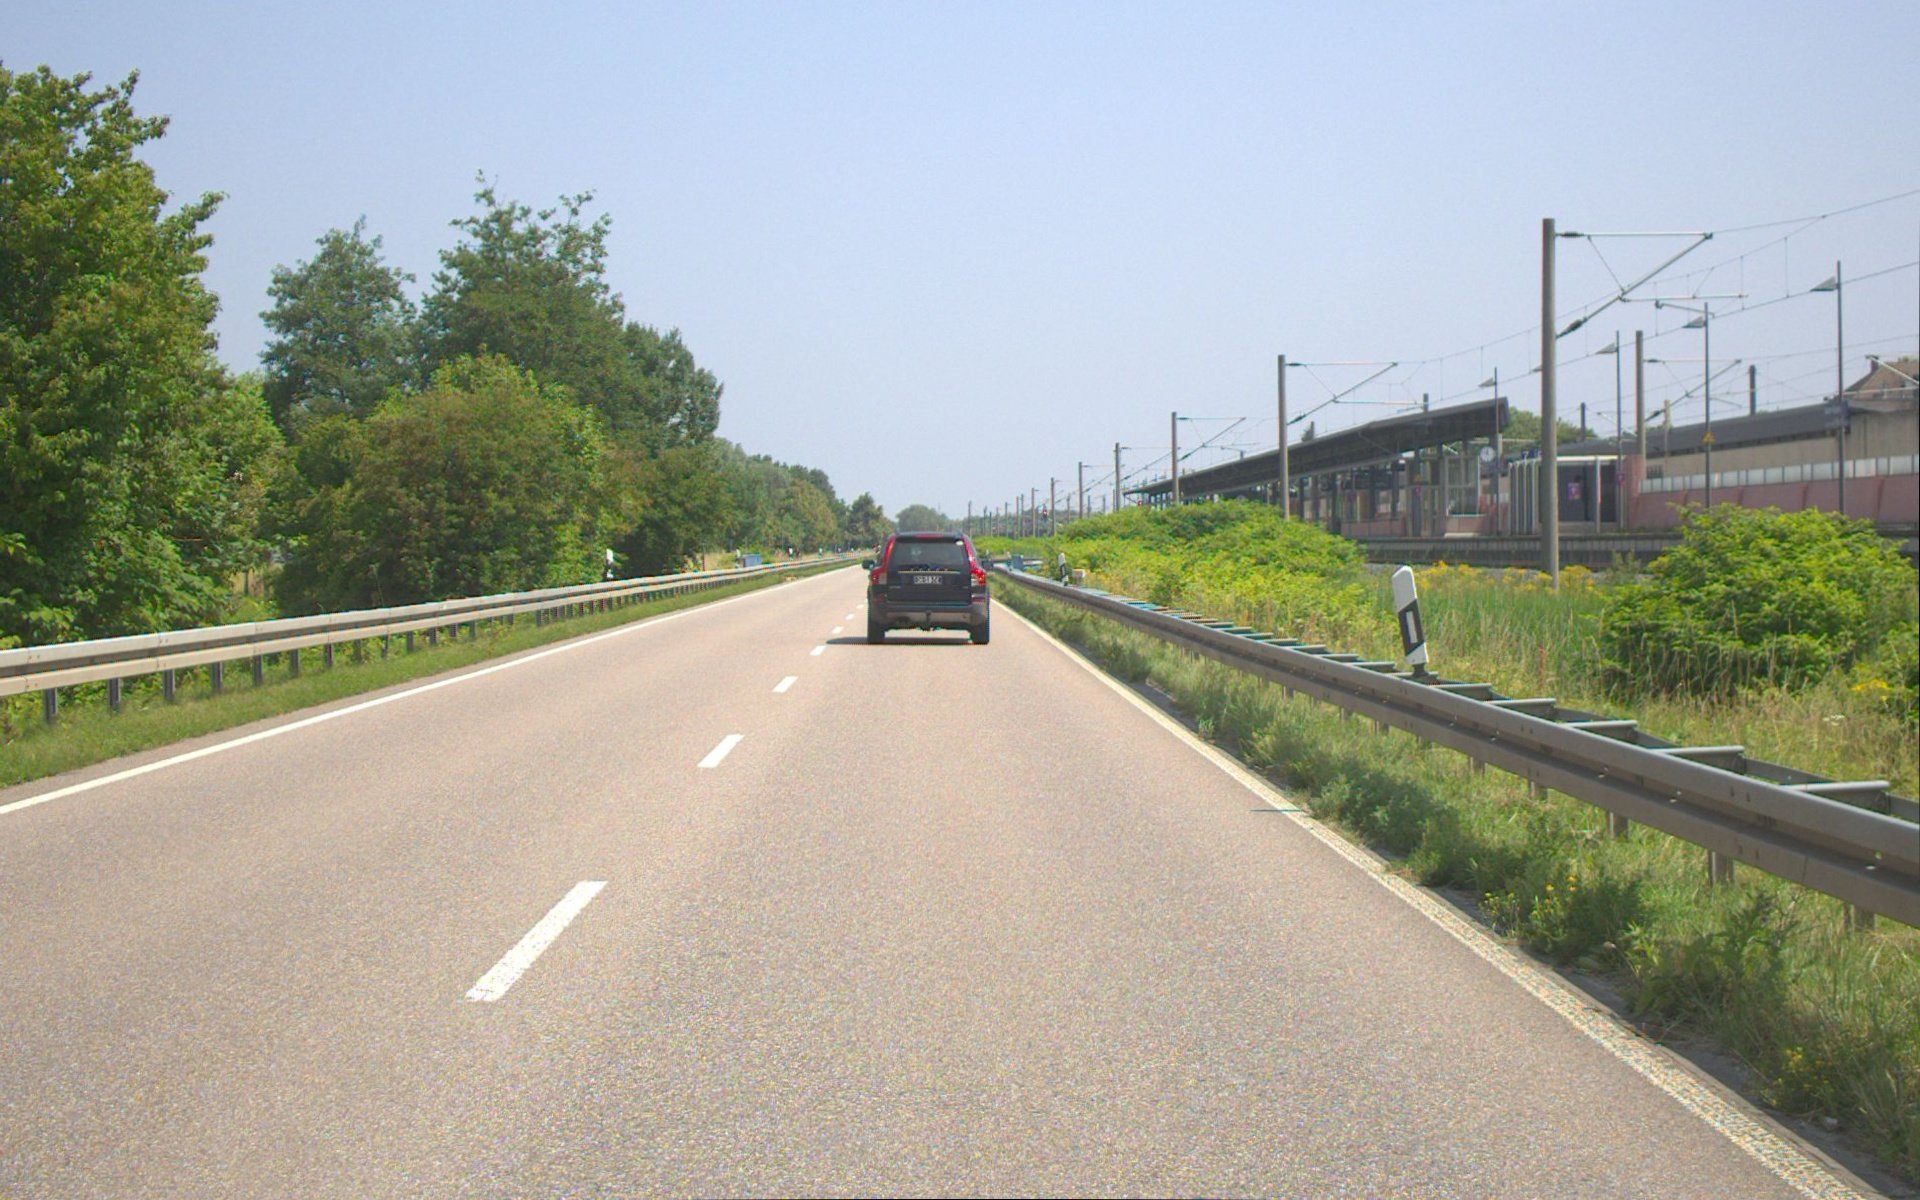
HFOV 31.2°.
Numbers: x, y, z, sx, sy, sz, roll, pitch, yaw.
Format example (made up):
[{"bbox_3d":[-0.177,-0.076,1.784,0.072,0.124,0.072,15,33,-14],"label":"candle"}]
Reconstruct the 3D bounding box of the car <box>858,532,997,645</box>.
[{"bbox_3d":[-0.548,-0.209,53.581,1.993,1.694,4.001,0,1,-3],"label":"car"}]
